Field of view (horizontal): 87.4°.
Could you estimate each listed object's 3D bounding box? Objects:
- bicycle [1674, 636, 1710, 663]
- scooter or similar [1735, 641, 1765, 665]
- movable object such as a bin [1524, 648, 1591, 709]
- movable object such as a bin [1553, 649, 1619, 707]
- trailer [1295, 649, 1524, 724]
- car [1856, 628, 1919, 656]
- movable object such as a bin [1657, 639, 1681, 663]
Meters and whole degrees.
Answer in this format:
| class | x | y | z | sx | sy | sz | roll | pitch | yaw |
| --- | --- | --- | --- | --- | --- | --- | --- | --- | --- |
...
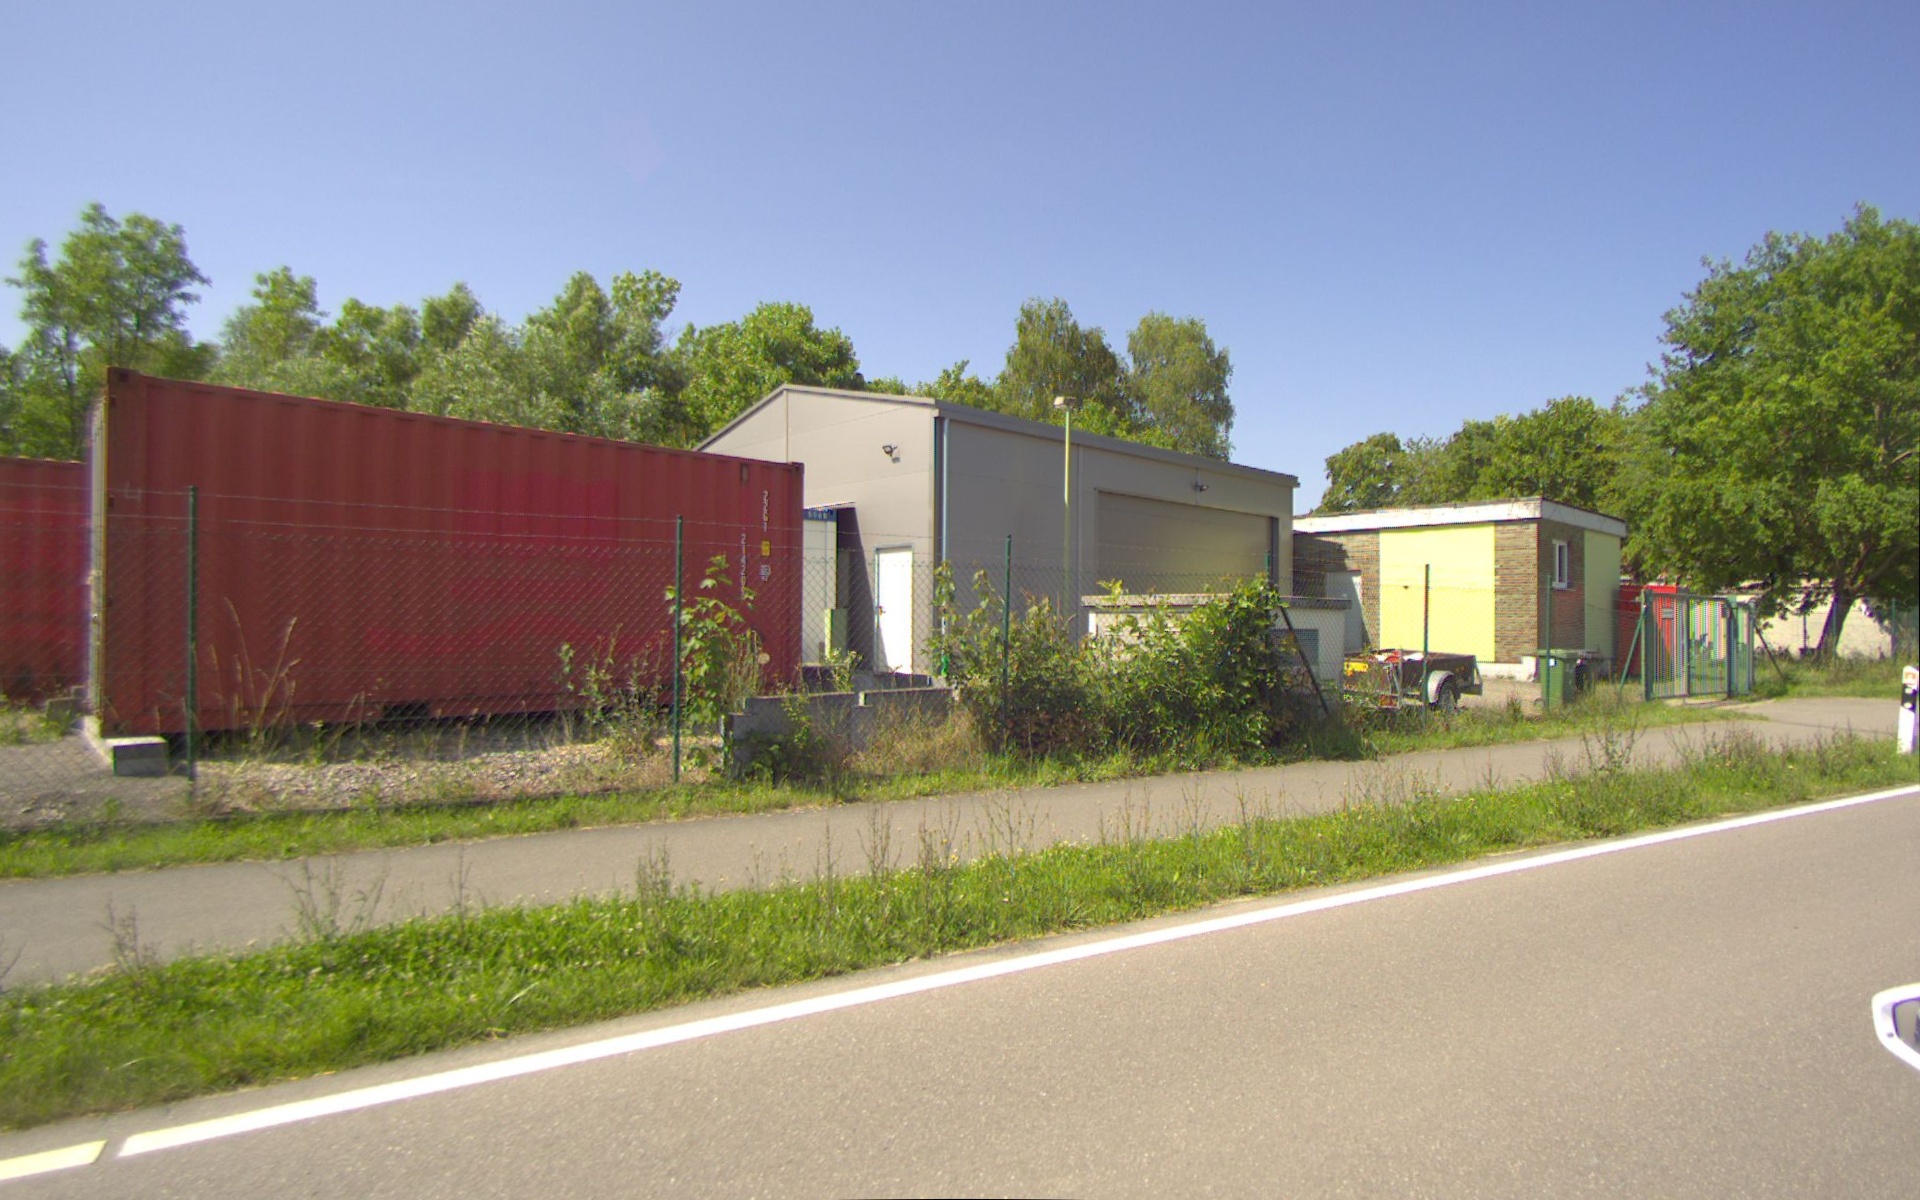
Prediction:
| class | x | y | z | sx | sy | sz | roll | pitch | yaw |
| --- | --- | --- | --- | --- | --- | --- | --- | --- | --- |
| bicycle | 33.036 | 2.225 | 45.364 | 0.419 | 1.229 | 1.233 | 1 | -2 | -32 |
| scooter or similar | 33.112 | 2.219 | 42.120 | 0.529 | 1.010 | 0.888 | 1 | -2 | -35 |
| movable object such as a bin | 9.183 | 1.196 | 15.440 | 0.645 | 0.887 | 0.637 | 1 | -1 | -25 |
| movable object such as a bin | 9.794 | 1.213 | 15.721 | 0.645 | 0.866 | 0.637 | 1 | -1 | -25 |
| trailer | 6.517 | 1.183 | 14.480 | 3.326 | 0.878 | 1.619 | 1 | -2 | -37 |
| car | 48.491 | 2.125 | 51.328 | 1.743 | 1.417 | 3.773 | 1 | -2 | -37 |
| movable object such as a bin | 31.534 | 2.251 | 44.652 | 0.657 | 1.027 | 0.690 | 1 | -2 | -34 |
